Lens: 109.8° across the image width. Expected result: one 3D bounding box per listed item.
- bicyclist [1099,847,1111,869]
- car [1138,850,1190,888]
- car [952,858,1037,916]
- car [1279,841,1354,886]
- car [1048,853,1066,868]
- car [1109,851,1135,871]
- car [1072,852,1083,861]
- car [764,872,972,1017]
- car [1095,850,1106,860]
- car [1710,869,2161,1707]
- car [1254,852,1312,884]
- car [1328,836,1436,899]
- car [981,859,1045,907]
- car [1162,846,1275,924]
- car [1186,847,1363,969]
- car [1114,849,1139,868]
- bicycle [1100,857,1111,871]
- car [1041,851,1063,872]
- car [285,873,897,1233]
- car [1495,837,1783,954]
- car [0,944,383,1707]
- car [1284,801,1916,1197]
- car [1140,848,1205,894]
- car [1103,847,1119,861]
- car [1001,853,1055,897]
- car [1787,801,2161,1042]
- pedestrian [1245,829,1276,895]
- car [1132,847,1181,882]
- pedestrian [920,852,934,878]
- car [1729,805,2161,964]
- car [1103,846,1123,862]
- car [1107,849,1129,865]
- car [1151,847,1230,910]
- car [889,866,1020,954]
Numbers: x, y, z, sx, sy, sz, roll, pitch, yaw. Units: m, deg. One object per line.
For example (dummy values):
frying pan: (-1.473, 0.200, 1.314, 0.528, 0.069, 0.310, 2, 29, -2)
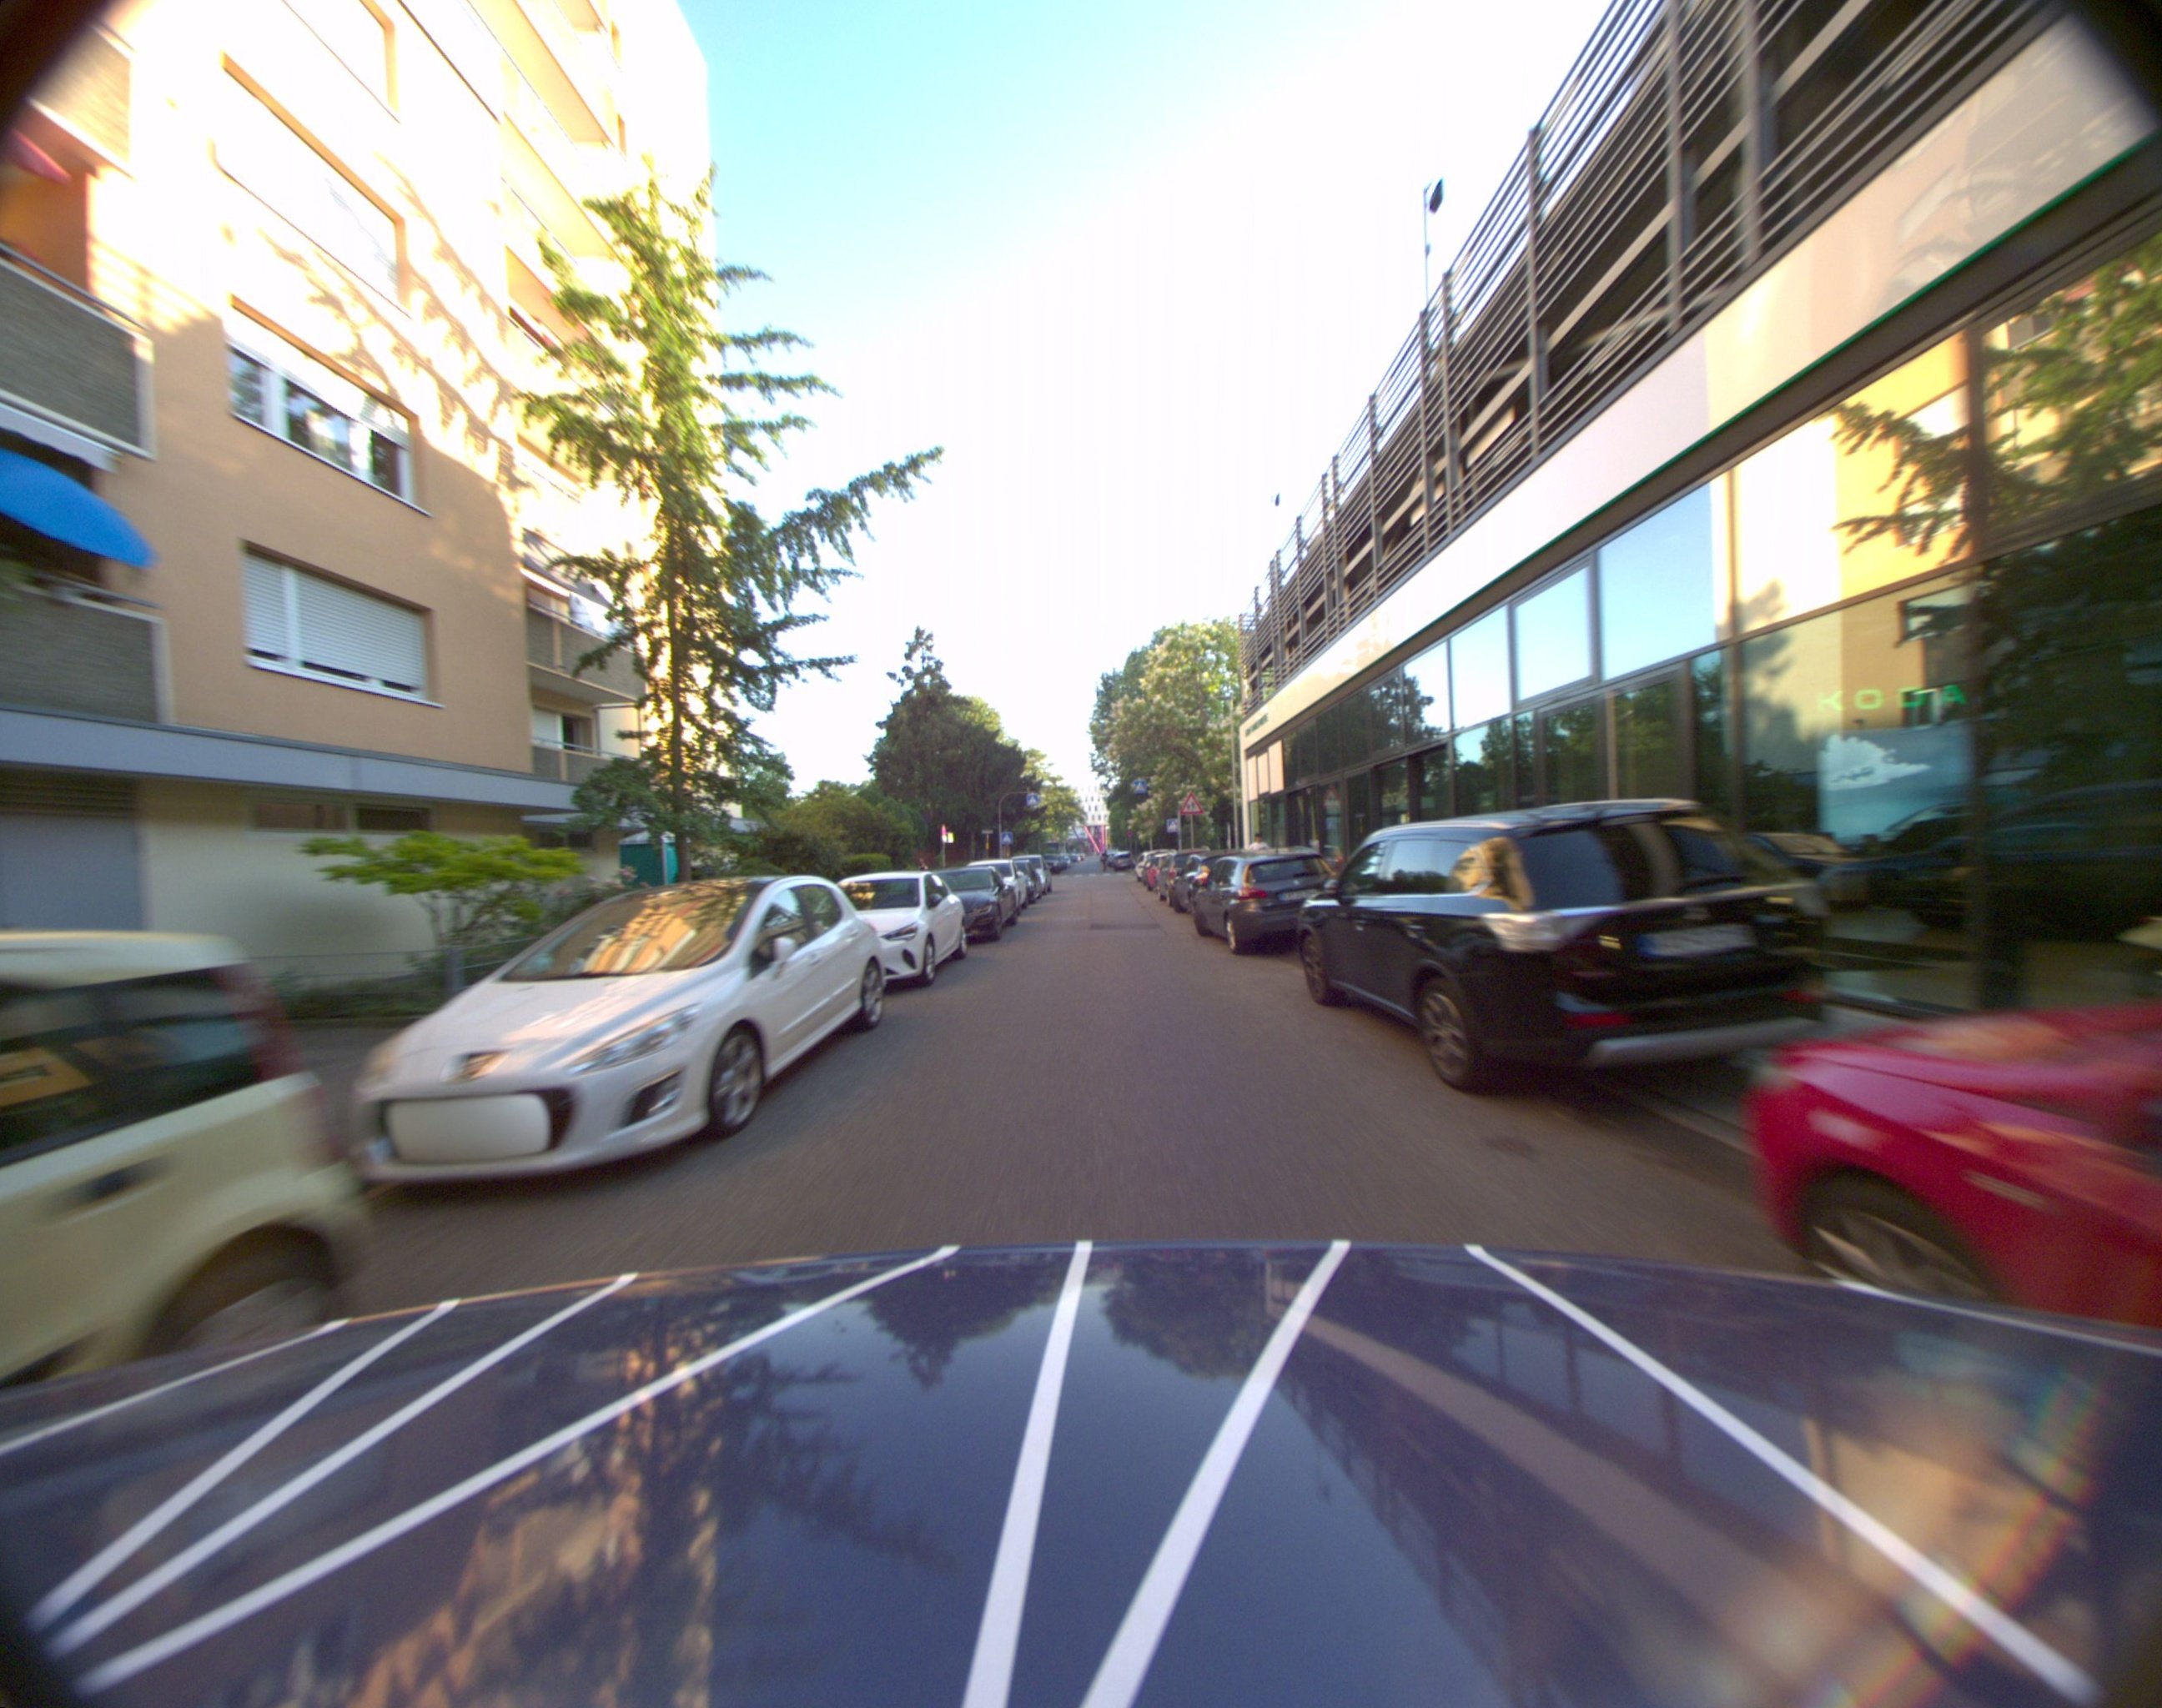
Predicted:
bicyclist: (2.010, 0.342, 63.298, 0.861, 1.797, 1.016, -2, 0, -5)
car: (3.658, 0.633, 34.130, 1.666, 1.407, 4.413, -8, 0, 0)
car: (-2.343, 0.857, 21.558, 1.814, 1.408, 3.896, -2, 0, 1)
car: (8.717, 0.340, 28.401, 1.597, 1.514, 3.876, -2, 0, 1)
car: (-2.481, 0.626, 78.395, 1.786, 1.491, 3.884, 1, 0, -2)
car: (3.556, 0.612, 66.876, 1.786, 1.442, 3.884, -8, 0, -2)
car: (-0.782, 0.427, 156.244, 1.999, 1.739, 3.999, -3, 0, -1)
car: (-2.660, 1.058, 10.470, 1.613, 1.453, 4.054, -2, 0, 1)
car: (3.797, 0.213, 149.696, 1.786, 1.772, 4.011, -2, 0, -2)
car: (2.786, 0.818, 0.476, 1.701, 1.497, 3.791, -2, 0, 2)
car: (8.873, 0.585, 33.676, 1.597, 1.286, 3.451, -2, 0, 0)
car: (8.715, 0.358, 22.341, 1.597, 1.640, 3.876, -2, 0, 1)
car: (-2.230, 0.925, 26.004, 1.721, 1.411, 4.027, -2, 0, 1)
car: (3.054, 0.635, 17.699, 1.733, 1.394, 4.006, -8, 0, 0)
car: (2.927, 0.752, 12.465, 1.942, 1.587, 4.206, -3, 0, 3)
car: (4.231, 0.414, 71.552, 1.786, 1.568, 3.884, -8, 0, -2)
bicycle: (2.033, 0.840, 63.343, 0.761, 1.090, 1.863, -1, 0, -5)
car: (-2.521, 0.632, 66.705, 1.786, 1.743, 3.884, 0, 0, -2)
car: (-2.850, 1.006, 5.730, 1.796, 1.553, 4.193, -2, 0, 1)
car: (8.604, 0.556, 12.226, 1.701, 1.506, 3.993, -2, 0, 1)
car: (-3.054, 1.064, 0.651, 1.613, 1.502, 3.478, -2, 0, 1)
car: (2.959, 0.664, 5.671, 1.702, 1.746, 4.403, -2, 0, 1)
car: (3.355, 0.618, 28.496, 1.666, 1.402, 3.926, -7, 0, -2)
car: (4.433, 0.037, 113.342, 1.964, 1.826, 3.884, -8, 0, -2)
car: (-2.074, 0.793, 30.740, 1.814, 1.566, 3.884, -2, 0, 1)
car: (8.249, 0.430, 5.753, 1.702, 1.649, 4.409, -2, 0, 1)
pedestrian: (5.285, 0.235, 22.388, 0.722, 1.867, 0.620, -3, 0, 2)
car: (3.802, 0.526, 38.680, 1.666, 1.505, 3.883, -6, 0, -5)
pedestrian: (-10.498, 0.749, 51.738, 0.826, 1.716, 0.860, 1, 1, -18)
car: (11.584, 0.310, 10.517, 1.702, 1.715, 4.131, -2, 1, 1)
car: (3.651, 0.009, 86.916, 1.786, 1.562, 3.884, -8, 0, -2)
car: (3.815, 0.313, 78.540, 1.786, 1.468, 3.884, -8, 0, -2)
car: (3.123, 0.648, 22.375, 1.665, 1.489, 3.885, -8, 0, 2)
car: (-2.394, 1.018, 15.619, 1.814, 1.408, 4.625, -2, 0, 1)
